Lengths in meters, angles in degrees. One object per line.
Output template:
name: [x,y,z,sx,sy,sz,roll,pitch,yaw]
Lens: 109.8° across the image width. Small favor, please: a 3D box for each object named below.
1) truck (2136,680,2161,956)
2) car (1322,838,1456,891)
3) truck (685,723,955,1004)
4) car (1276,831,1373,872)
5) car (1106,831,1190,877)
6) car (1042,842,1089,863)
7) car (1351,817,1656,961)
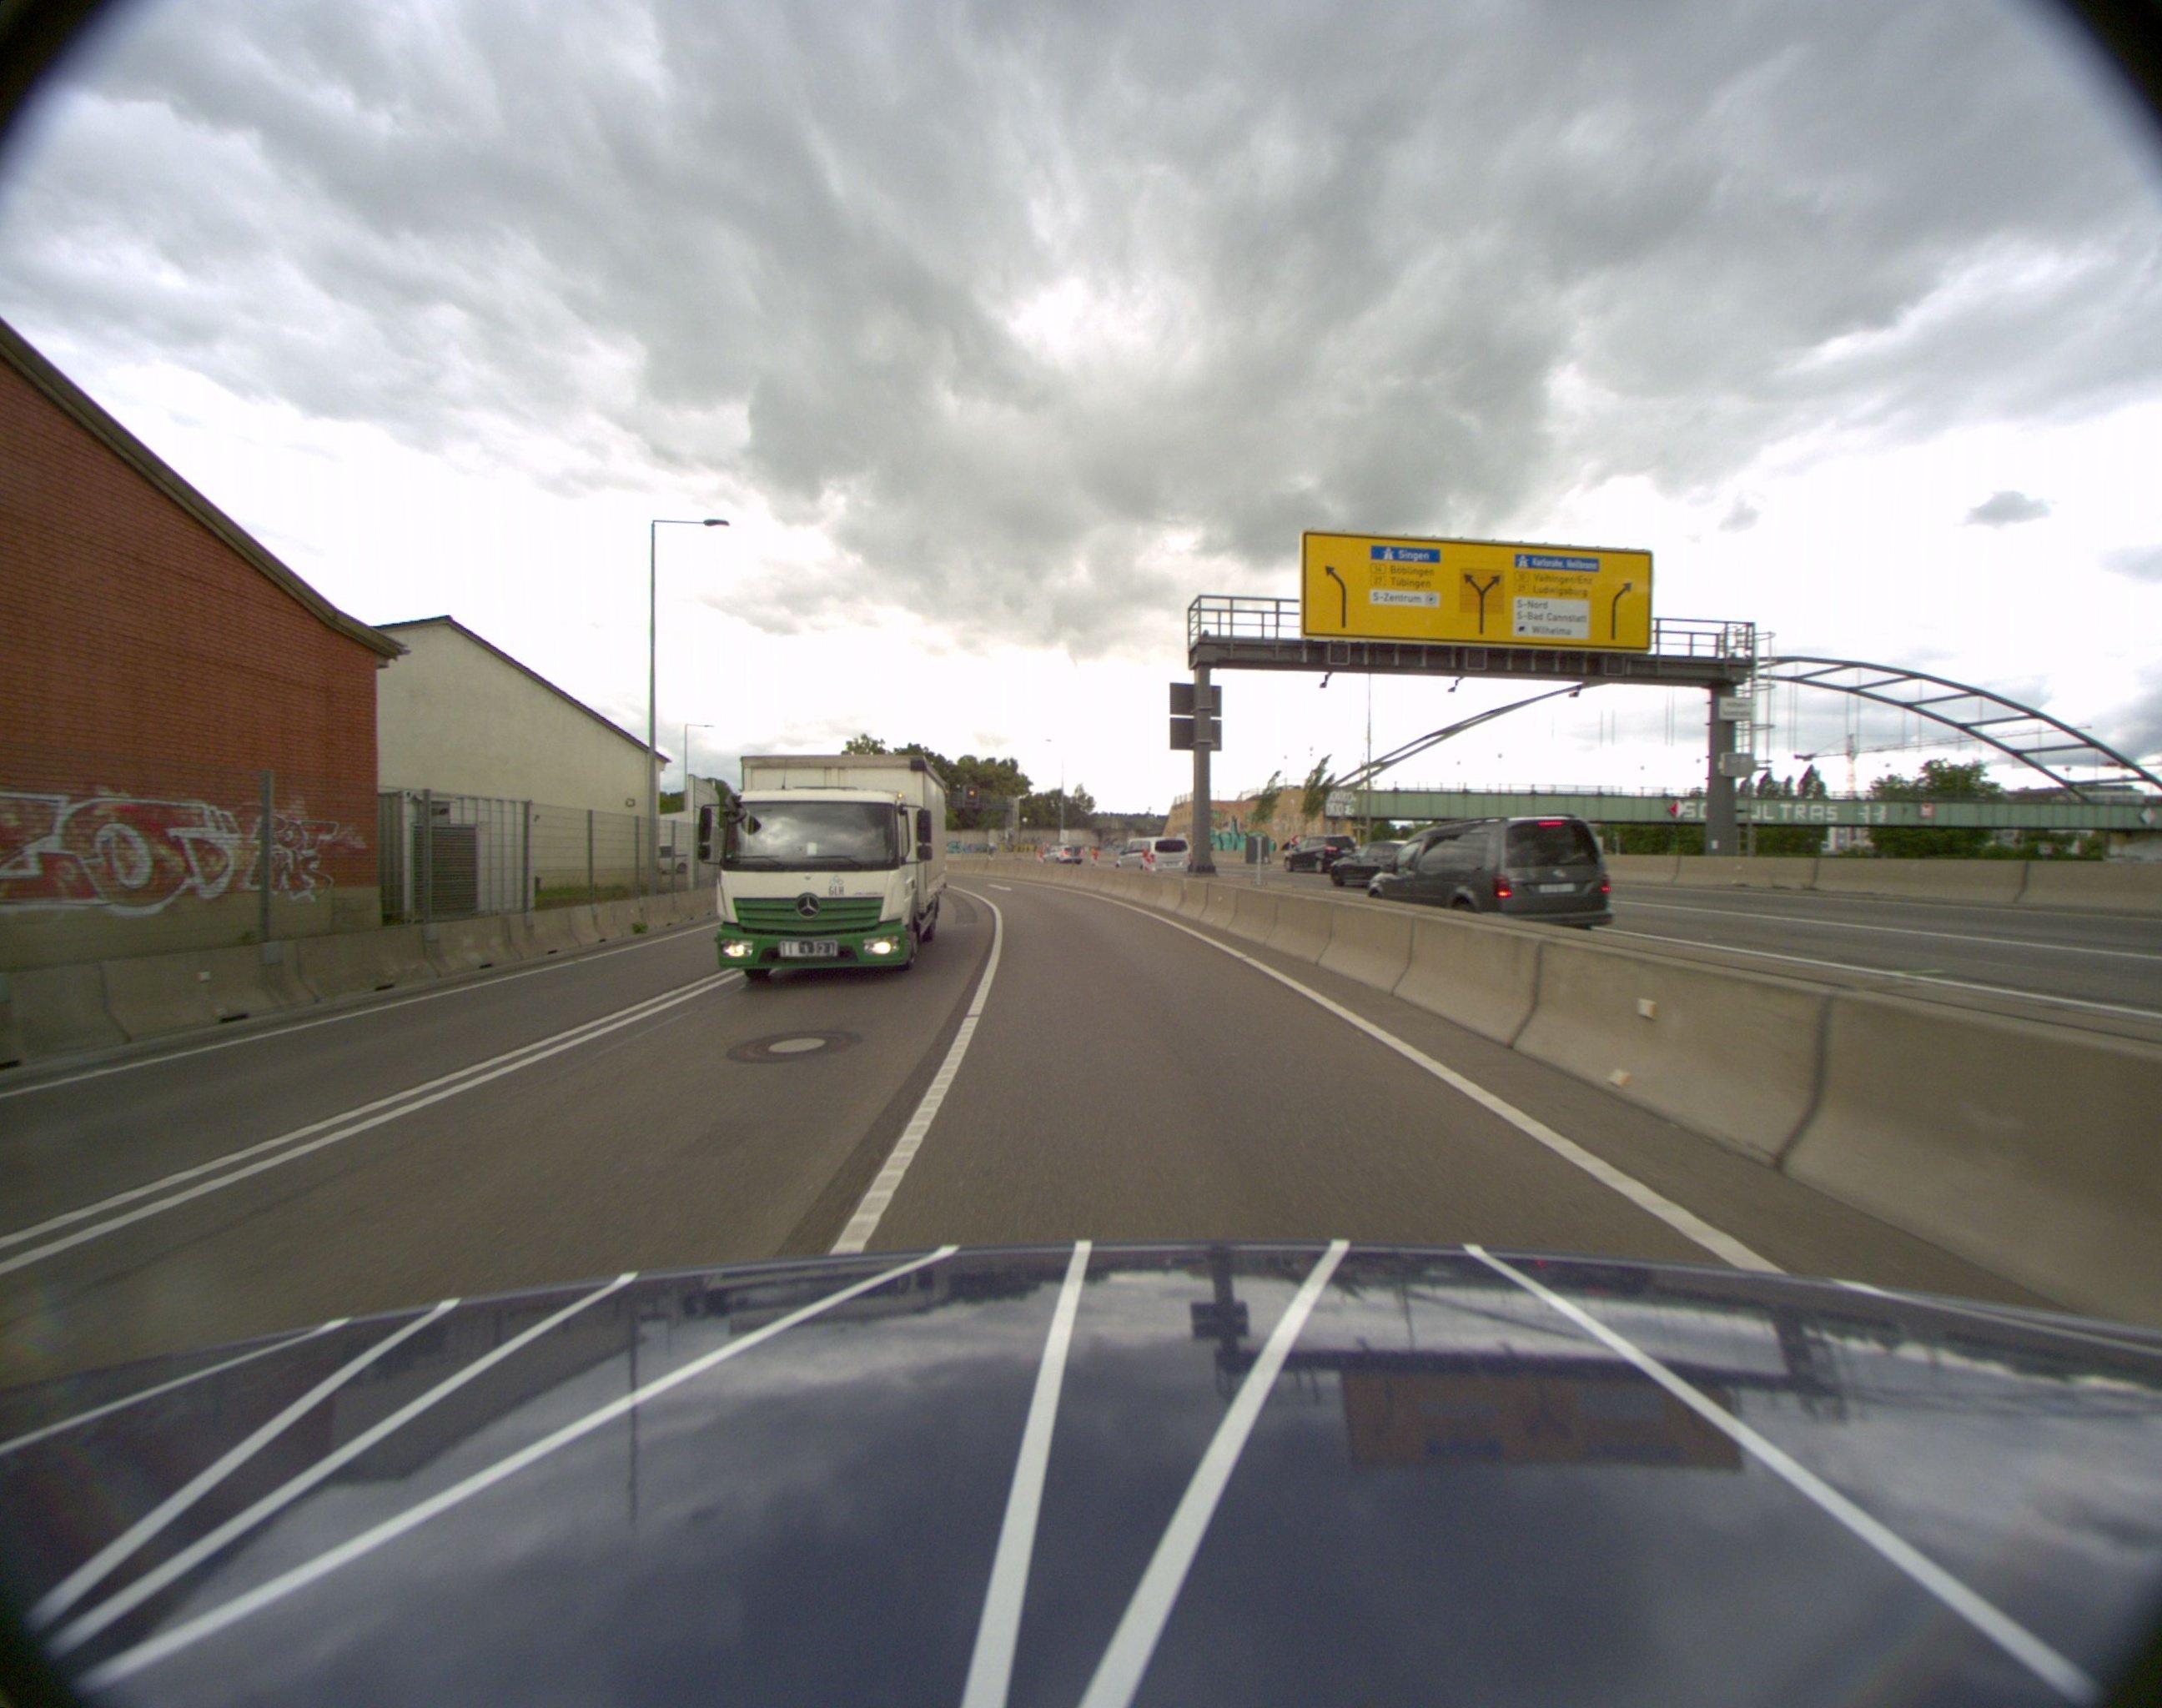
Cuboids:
truck: [13.233,-0.410,7.212,2.278,3.096,2.987,-2,1,1]
car: [9.312,0.252,23.444,1.869,1.445,4.568,-1,1,-7]
truck: [-3.687,0.081,12.736,2.638,3.220,7.410,-3,1,-7]
car: [10.940,-0.151,34.536,2.001,1.663,4.722,-2,1,-13]
car: [2.879,-0.030,34.171,1.958,1.796,5.785,-2,1,-14]
car: [-1.204,-0.114,56.733,1.802,1.413,4.639,-2,1,-24]
car: [6.327,0.428,12.252,1.907,1.795,4.952,-2,1,-4]
